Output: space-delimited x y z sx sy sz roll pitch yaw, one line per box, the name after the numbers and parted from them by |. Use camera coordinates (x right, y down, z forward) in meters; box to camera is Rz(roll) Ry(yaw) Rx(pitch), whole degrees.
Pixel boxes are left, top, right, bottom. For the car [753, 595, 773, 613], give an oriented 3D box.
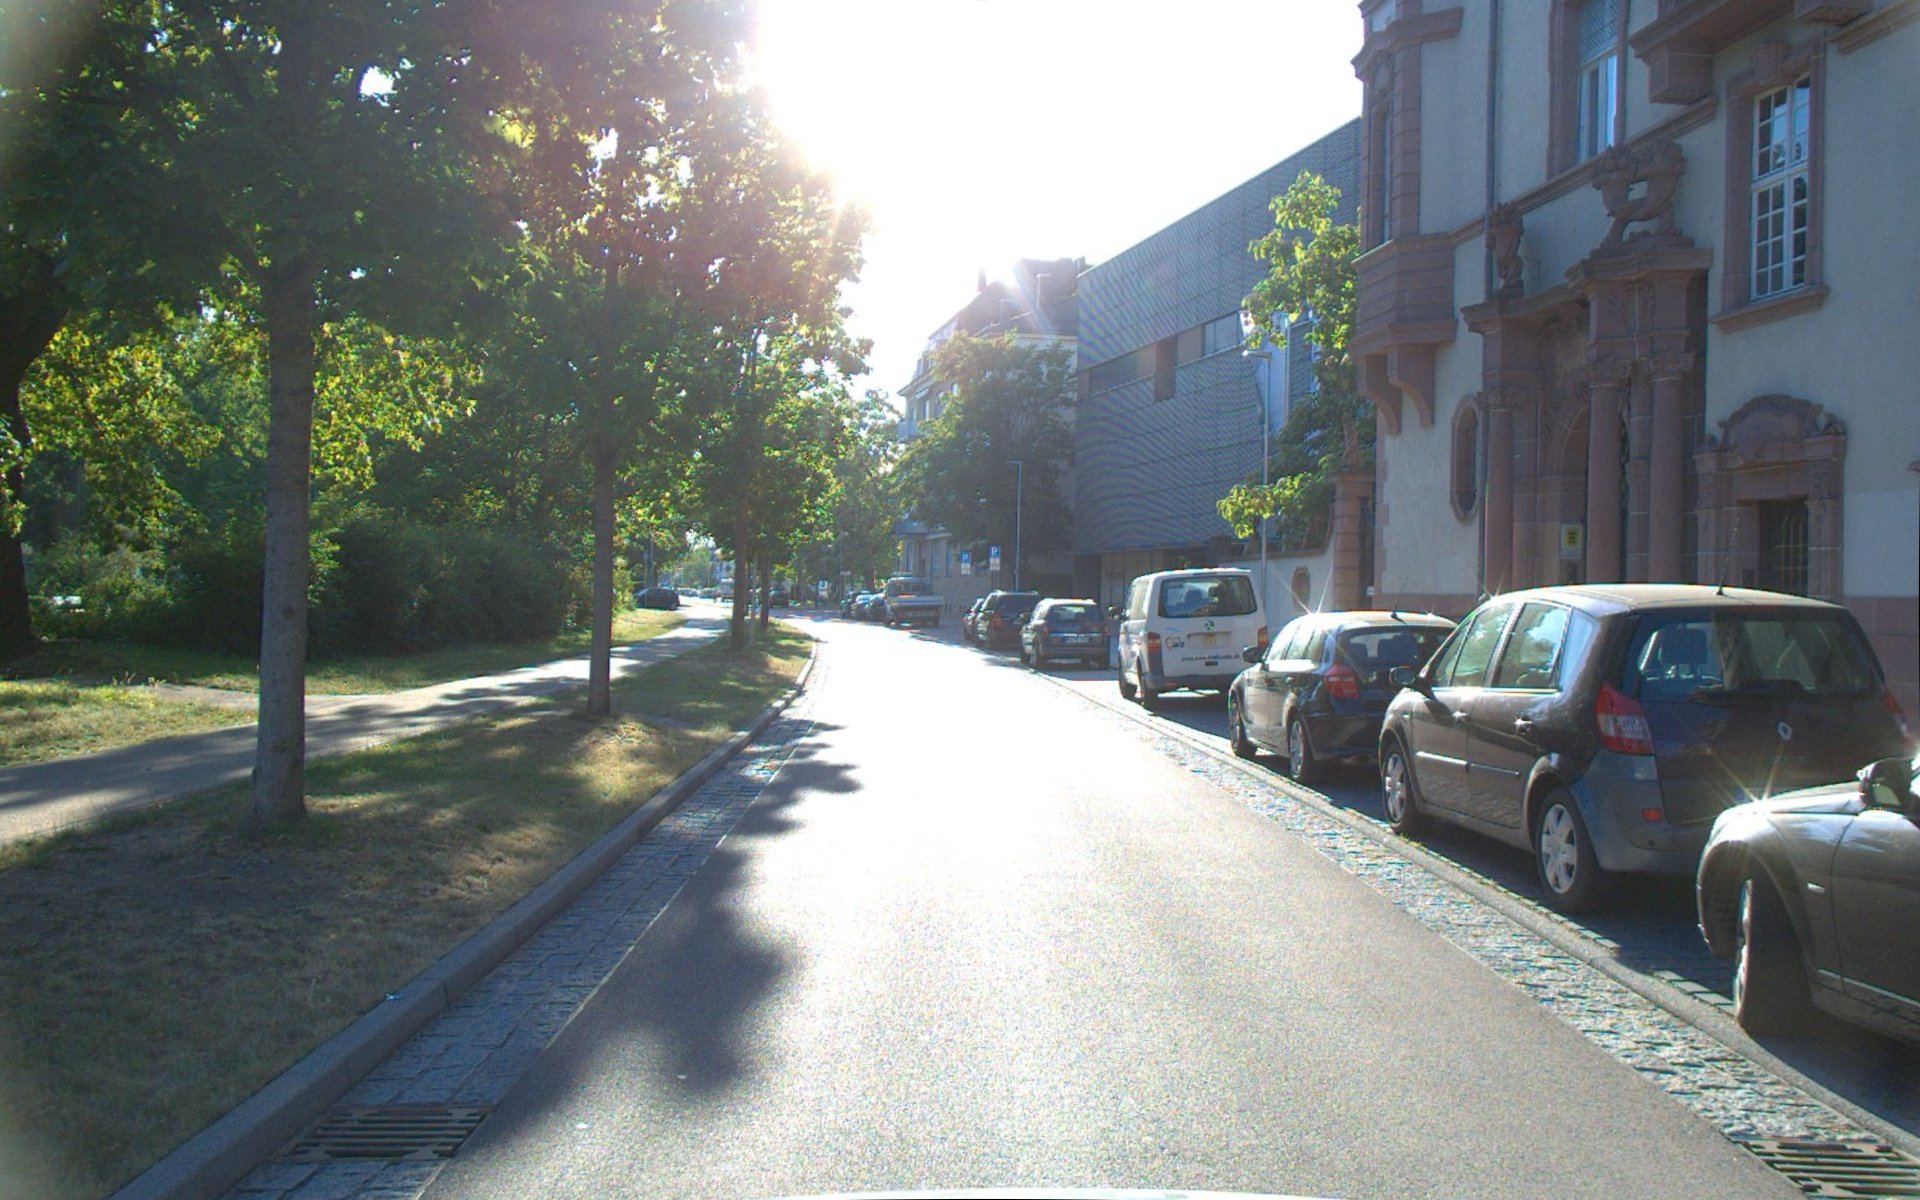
-19.597 0.405 164.224 1.761 1.754 3.992 1 0 -9 | car

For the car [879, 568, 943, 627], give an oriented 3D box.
-2.331 -0.149 76.936 2.170 2.574 6.135 -1 1 -9 | car

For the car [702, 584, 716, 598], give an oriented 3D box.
-38.904 -1.430 256.347 1.957 2.004 3.991 2 0 -10 | car

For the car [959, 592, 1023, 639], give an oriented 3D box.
0.976 0.490 54.235 1.691 1.446 3.902 0 1 -5 | car

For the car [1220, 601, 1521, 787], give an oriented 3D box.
3.608 0.752 15.312 1.645 1.427 4.198 -1 0 -1 | car

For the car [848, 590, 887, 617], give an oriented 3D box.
-5.248 0.179 93.315 1.660 1.465 4.093 0 1 -11 | car

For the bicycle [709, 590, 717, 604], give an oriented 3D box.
-24.657 -0.313 165.123 0.675 1.223 2.341 1 3 -6 | bicycle

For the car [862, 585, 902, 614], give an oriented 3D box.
-4.172 -0.037 87.909 1.660 1.465 3.541 0 1 -11 | car

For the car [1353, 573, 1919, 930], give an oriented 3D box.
3.810 0.683 9.769 1.779 1.630 4.190 -1 0 -3 | car

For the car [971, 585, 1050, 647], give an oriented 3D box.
1.422 0.426 48.123 1.691 1.698 4.108 0 1 -7 | car

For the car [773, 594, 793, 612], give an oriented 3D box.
-16.150 0.295 151.007 1.759 1.536 3.995 1 0 -6 | car

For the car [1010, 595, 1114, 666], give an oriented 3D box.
2.267 0.654 37.768 1.713 1.492 4.473 0 0 -5 | car

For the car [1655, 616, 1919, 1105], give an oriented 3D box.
3.870 0.809 4.592 1.834 1.461 4.520 -1 0 -2 | car

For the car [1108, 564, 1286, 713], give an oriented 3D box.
3.563 0.487 25.755 1.953 2.000 4.849 -2 2 -1 | car

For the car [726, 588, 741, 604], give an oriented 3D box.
-29.539 -0.476 215.637 1.761 2.034 3.992 1 0 -9 | car
